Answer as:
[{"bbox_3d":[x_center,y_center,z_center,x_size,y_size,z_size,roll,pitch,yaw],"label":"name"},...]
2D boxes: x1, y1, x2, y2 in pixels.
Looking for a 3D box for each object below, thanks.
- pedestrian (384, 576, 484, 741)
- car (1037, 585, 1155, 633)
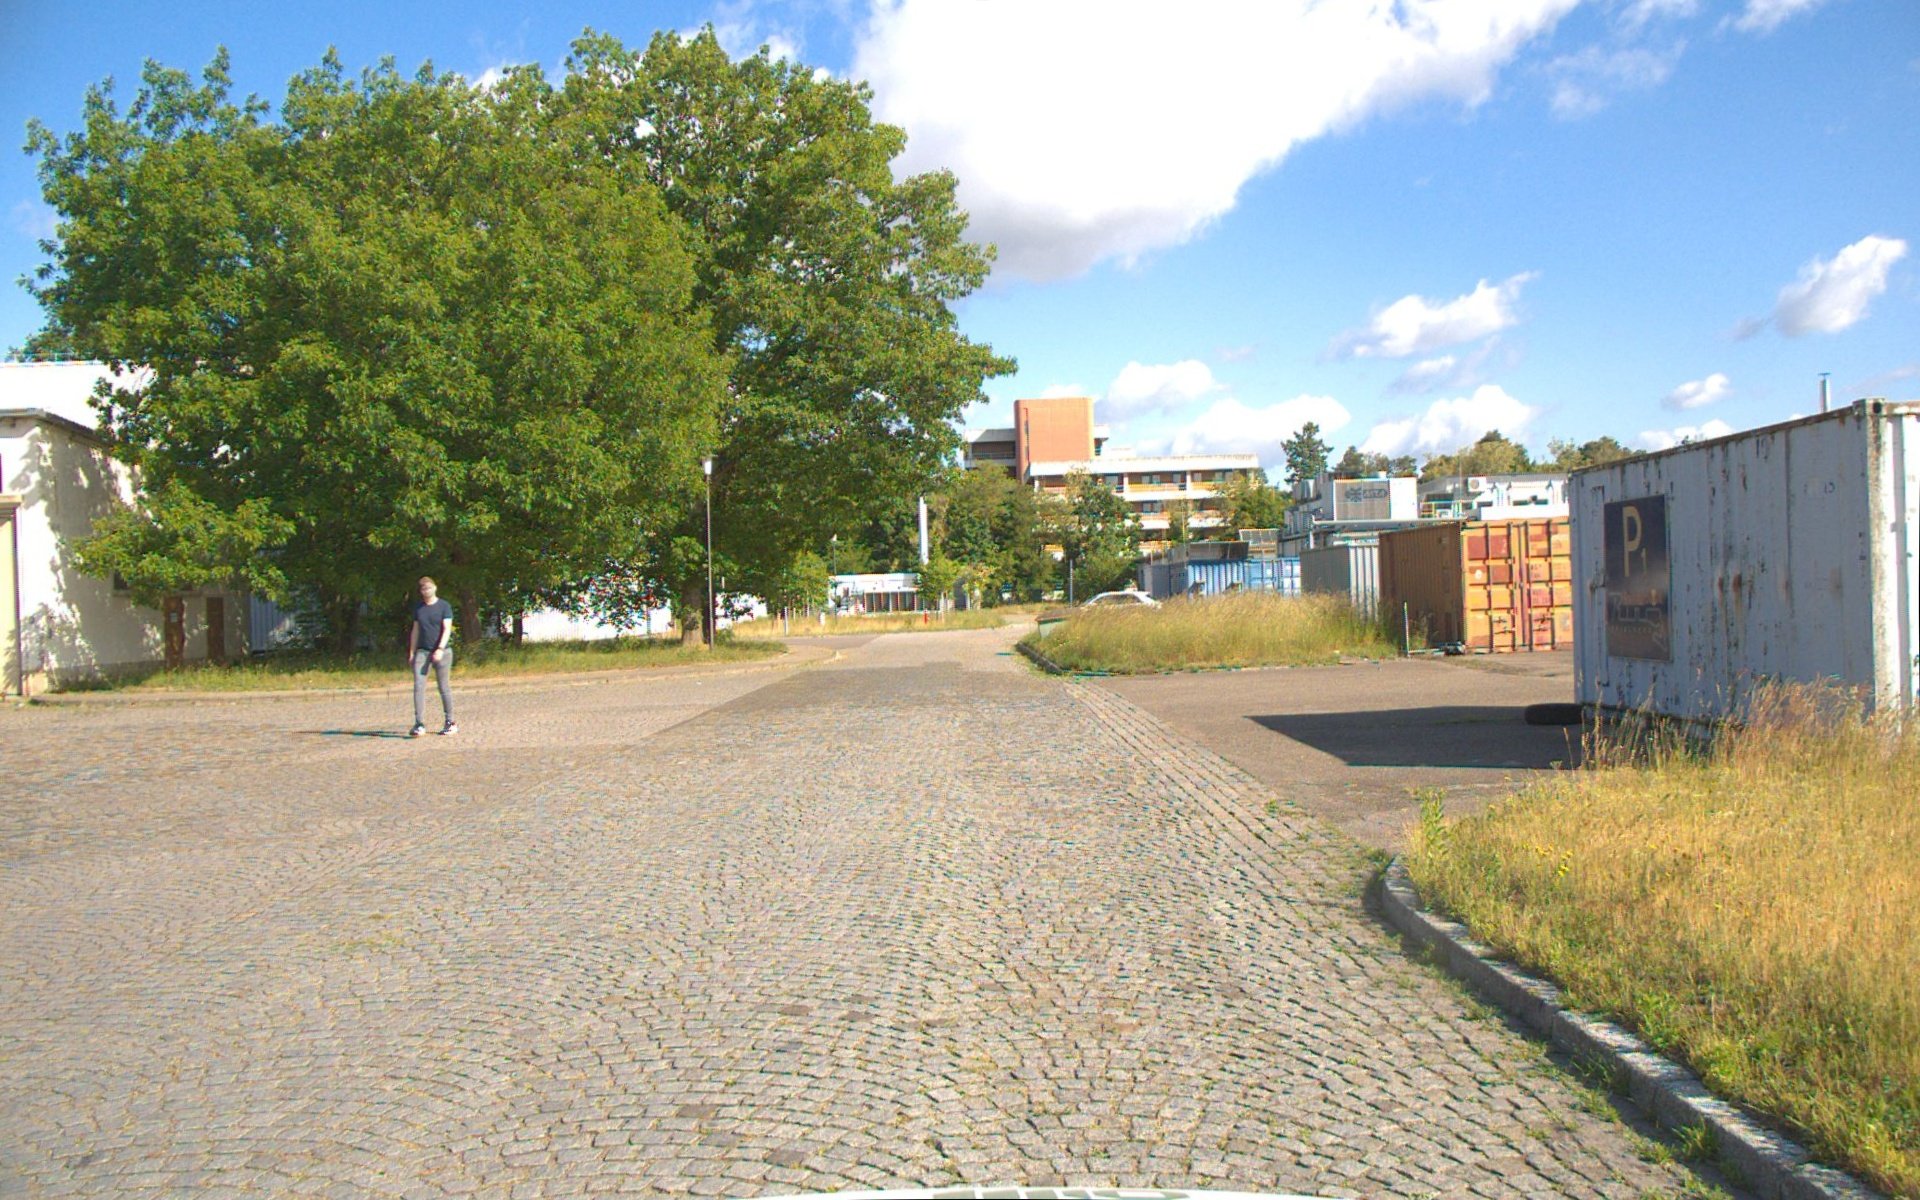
[{"bbox_3d":[-6.455,0.699,20.355,0.781,1.947,1.142,-2,0,0],"label":"pedestrian"},{"bbox_3d":[5.371,0.364,65.773,4.494,1.707,1.874,-2,0,-1],"label":"car"}]
